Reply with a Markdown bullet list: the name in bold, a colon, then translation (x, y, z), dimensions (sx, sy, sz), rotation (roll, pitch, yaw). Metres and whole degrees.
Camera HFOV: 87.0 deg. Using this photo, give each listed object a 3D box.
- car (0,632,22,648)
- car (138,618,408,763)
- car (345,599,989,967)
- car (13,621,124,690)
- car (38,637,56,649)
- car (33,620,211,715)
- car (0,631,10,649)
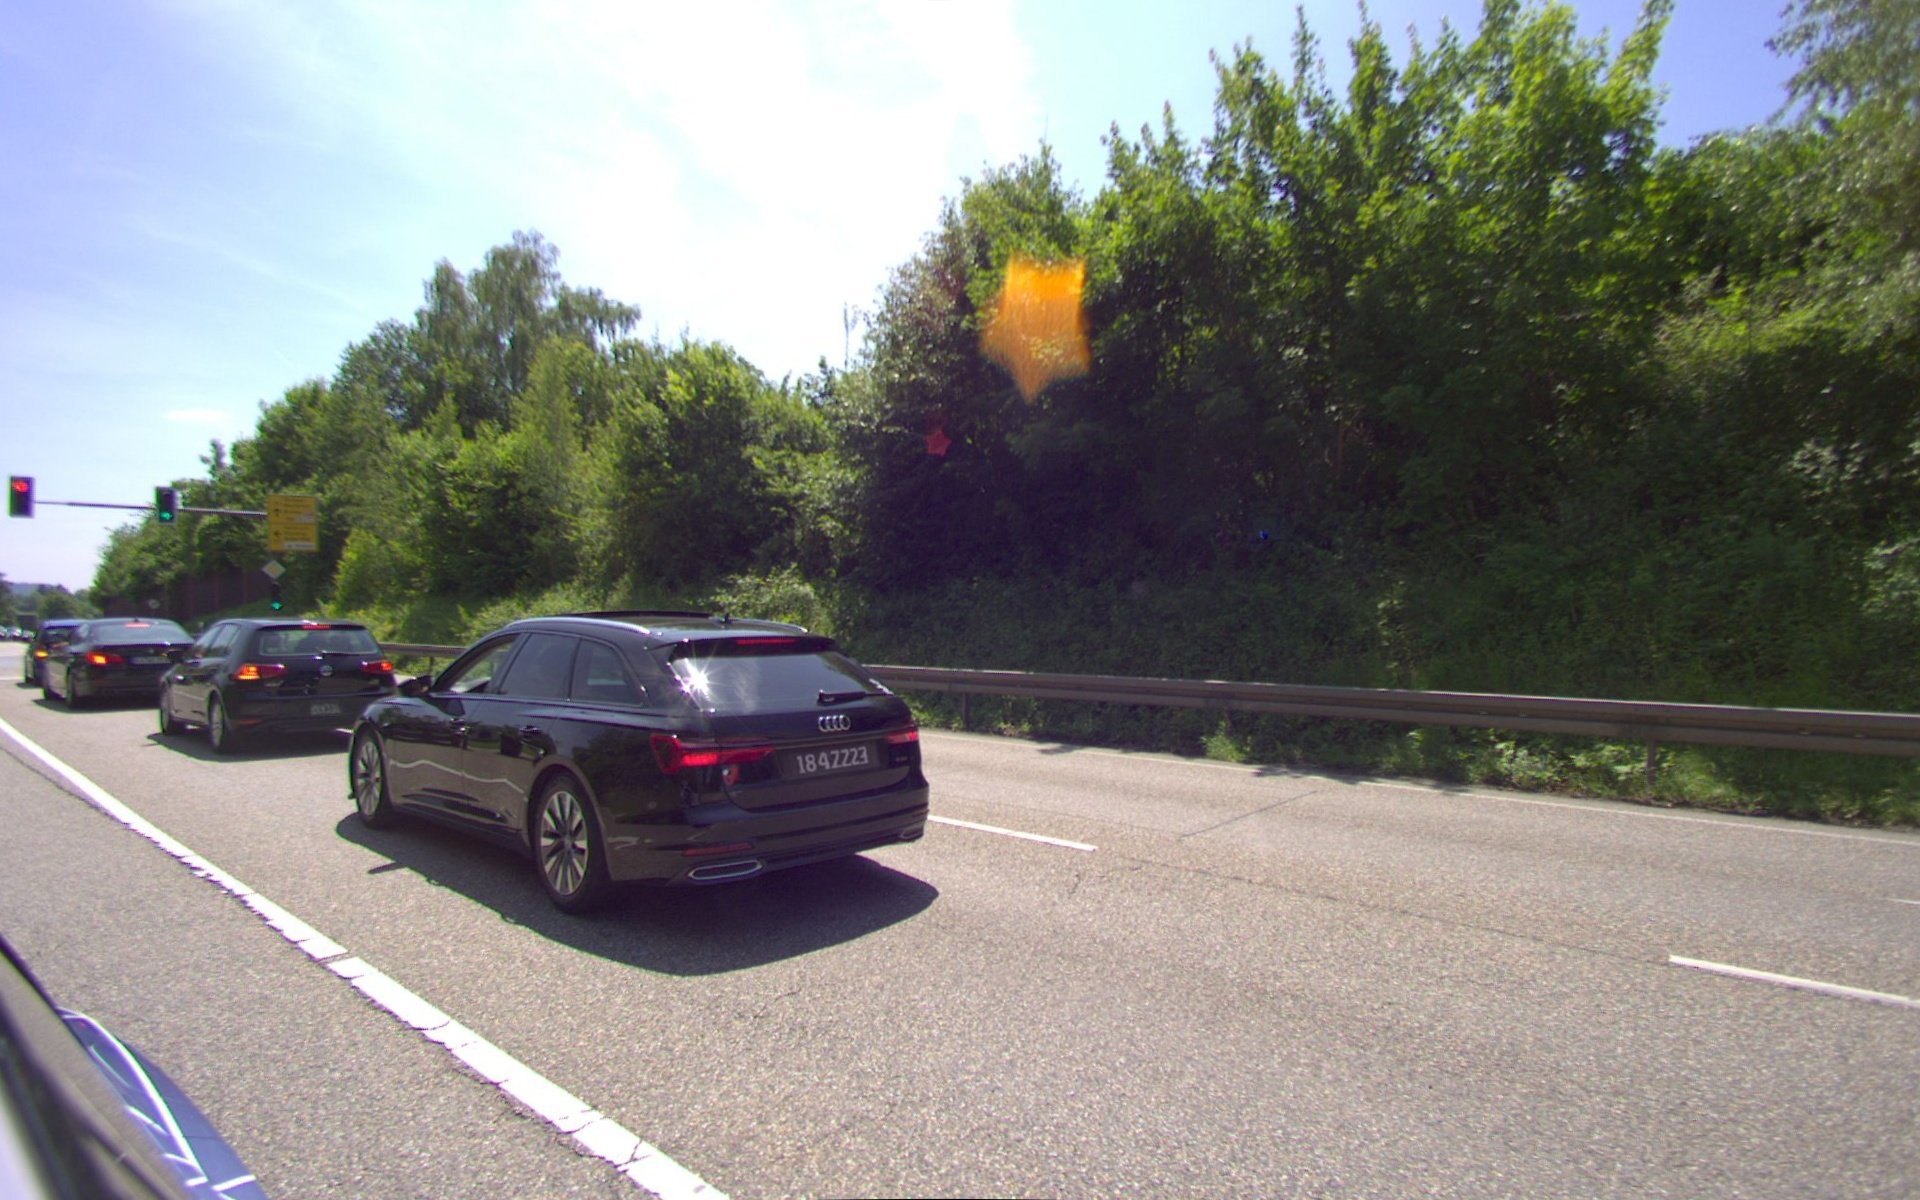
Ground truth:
- **car**: translation (-109.985, 4.611, 117.147), dimensions (1.970, 1.780, 4.004), rotation (0, -1, -43)
- **car**: translation (-8.307, 0.939, 12.096), dimensions (4.179, 1.425, 1.664), rotation (-1, -1, 41)
- **car**: translation (-2.055, 0.776, 6.200), dimensions (4.386, 1.464, 1.785), rotation (-1, -2, 43)
- **car**: translation (-20.616, 1.239, 23.359), dimensions (3.770, 1.451, 1.549), rotation (-2, -2, 43)
- **car**: translation (-141.998, 6.623, 157.374), dimensions (1.970, 1.780, 4.004), rotation (0, -1, -43)
- **car**: translation (-14.803, 1.109, 17.780), dimensions (4.639, 1.458, 1.762), rotation (-2, -2, 42)
- **car**: translation (-100.064, 4.169, 105.094), dimensions (1.970, 1.780, 4.004), rotation (0, -1, -43)
